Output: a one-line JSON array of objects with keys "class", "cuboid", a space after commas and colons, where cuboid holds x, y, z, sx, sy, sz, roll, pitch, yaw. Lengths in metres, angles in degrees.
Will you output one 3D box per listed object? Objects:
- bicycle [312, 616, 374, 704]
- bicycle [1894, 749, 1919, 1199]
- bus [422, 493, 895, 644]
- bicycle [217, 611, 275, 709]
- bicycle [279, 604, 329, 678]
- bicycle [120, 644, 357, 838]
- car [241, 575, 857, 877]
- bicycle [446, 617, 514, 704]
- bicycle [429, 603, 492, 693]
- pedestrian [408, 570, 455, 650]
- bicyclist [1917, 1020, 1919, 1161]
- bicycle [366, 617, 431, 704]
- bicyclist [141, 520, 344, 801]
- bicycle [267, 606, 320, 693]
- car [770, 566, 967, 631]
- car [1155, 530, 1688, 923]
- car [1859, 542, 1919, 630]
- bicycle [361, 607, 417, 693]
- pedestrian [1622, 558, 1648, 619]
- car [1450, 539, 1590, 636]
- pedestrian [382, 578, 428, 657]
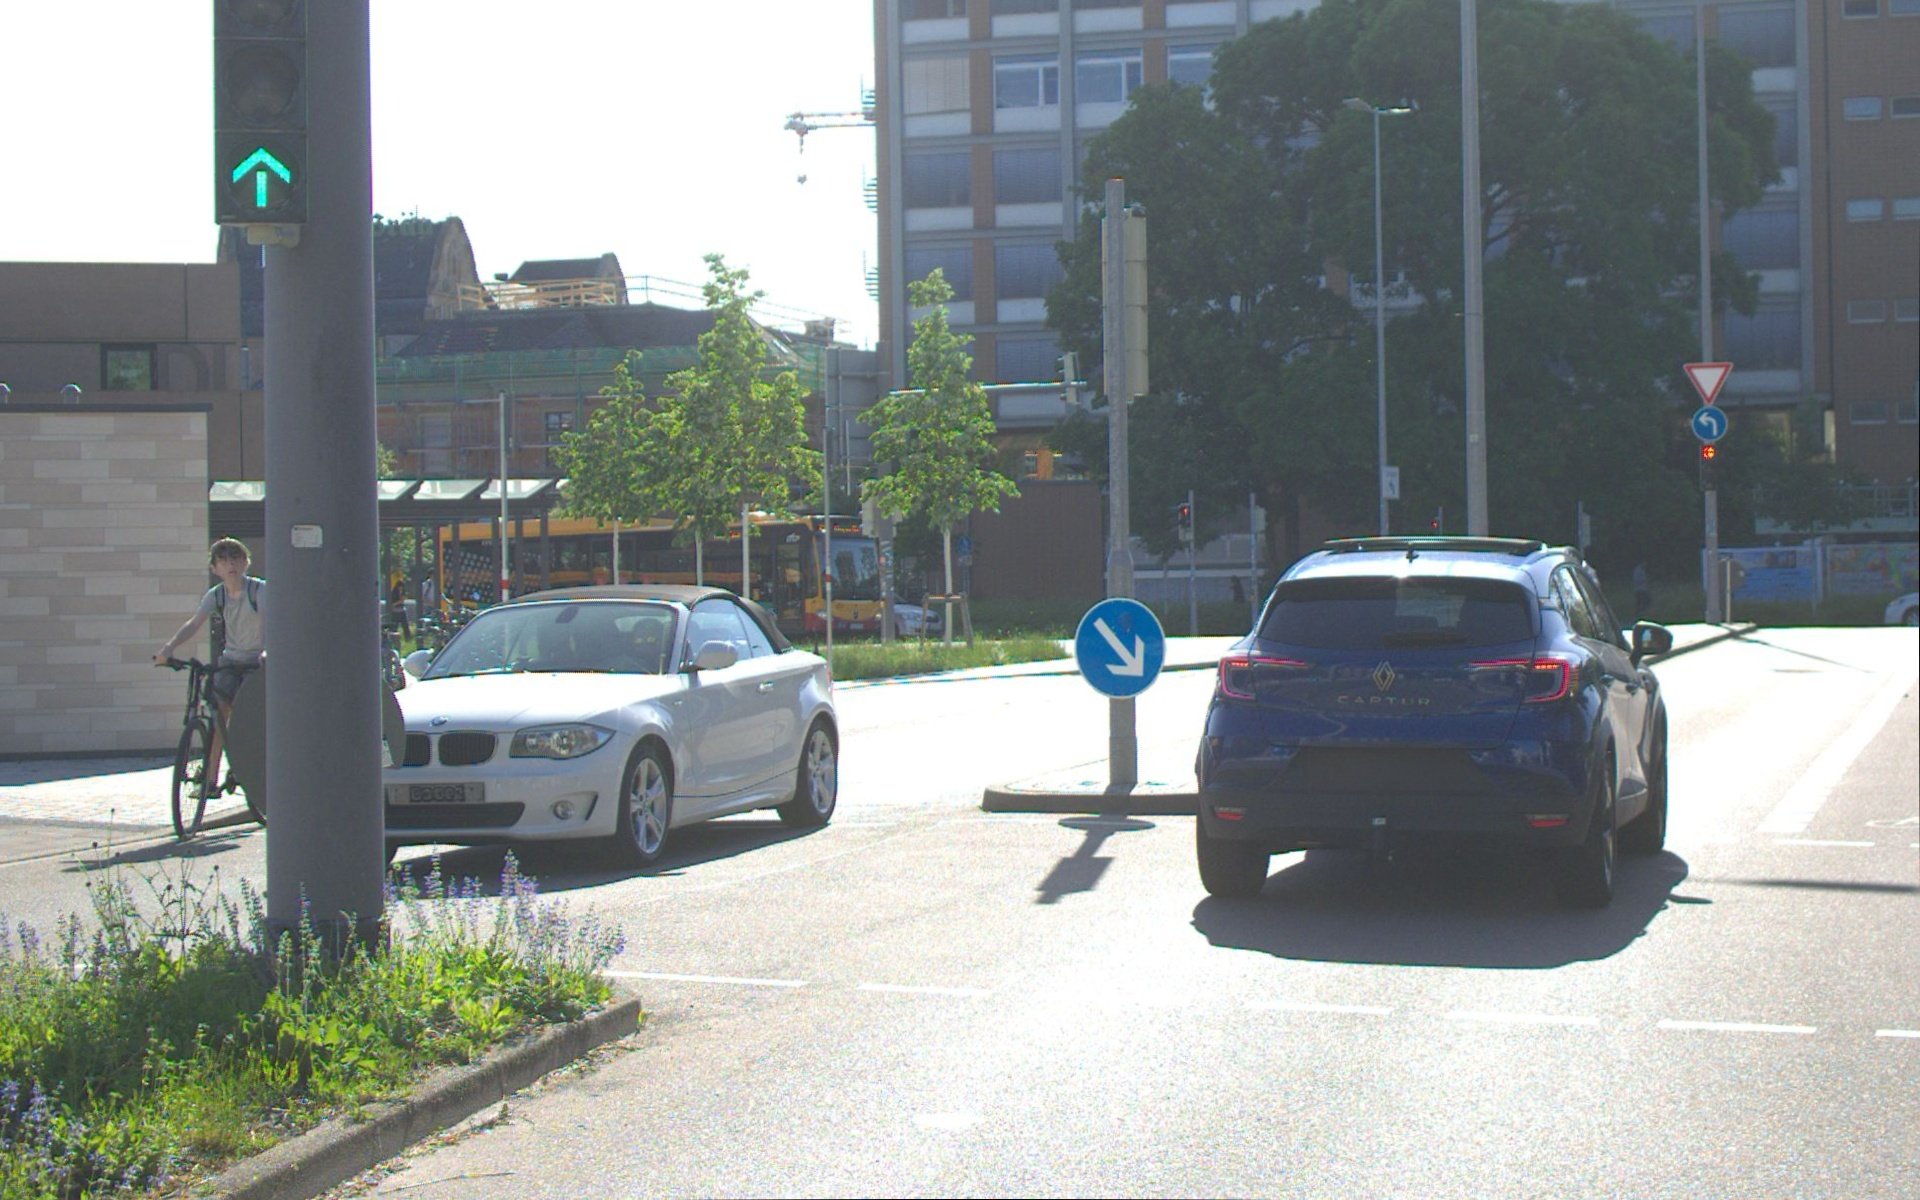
[{"class": "bicycle", "cuboid": [-6.918, 0.672, 38.498, 0.580, 0.958, 2.059, 0, -1, -13]}, {"class": "bicycle", "cuboid": [2.539, 0.918, 7.644, 0.663, 1.043, 1.890, 1, 1, 9]}, {"class": "bus", "cuboid": [-7.385, -0.660, 82.368, 12.430, 3.384, 2.876, 0, -1, 36]}, {"class": "bicycle", "cuboid": [-7.906, 0.662, 38.052, 0.580, 1.054, 1.817, 0, -1, -13]}, {"class": "bicycle", "cuboid": [-9.831, 0.616, 51.461, 0.580, 1.084, 1.872, 0, -1, -15]}, {"class": "bicycle", "cuboid": [-4.341, 0.827, 20.844, 0.773, 1.077, 2.035, -1, 0, 7]}, {"class": "car", "cuboid": [-2.061, 0.597, 18.512, 1.801, 1.388, 4.090, -1, 1, 17]}, {"class": "bicycle", "cuboid": [-5.448, 0.683, 38.931, 0.580, 0.958, 2.059, 0, -1, -13]}, {"class": "bicycle", "cuboid": [-5.956, 0.571, 40.938, 0.580, 1.048, 1.973, 0, -1, -13]}, {"class": "pedestrian", "cuboid": [-11.527, 0.228, 74.988, 0.626, 1.735, 0.786, 0, -1, 33]}, {"class": "bicyclist", "cuboid": [2.511, 0.449, 7.501, 0.664, 1.741, 1.005, 1, 1, 9]}, {"class": "bicycle", "cuboid": [-6.314, 0.676, 38.628, 0.580, 0.958, 2.059, 0, -1, -13]}, {"class": "bicyclist", "cuboid": [-4.336, 0.358, 20.844, 0.880, 1.639, 1.060, -1, 0, 7]}, {"class": "bicycle", "cuboid": [-8.549, 0.634, 44.058, 0.580, 1.084, 2.059, 0, -1, -13]}, {"class": "car", "cuboid": [-2.215, -0.020, 82.695, 4.405, 1.516, 1.966, 0, -1, 34]}, {"class": "car", "cuboid": [2.269, 0.507, 16.077, 1.825, 1.594, 3.655, 1, 0, 18]}, {"class": "car", "cuboid": [23.135, -0.314, 78.657, 4.657, 2.007, 1.997, 0, -1, 27]}, {"class": "bicycle", "cuboid": [-7.348, 0.640, 44.214, 0.580, 1.084, 2.059, 0, -1, -13]}, {"class": "pedestrian", "cuboid": [18.463, -0.305, 94.089, 0.561, 1.664, 0.475, 0, -1, 33]}, {"class": "car", "cuboid": [9.812, -0.245, 60.033, 1.819, 1.563, 4.247, -2, 0, 16]}, {"class": "pedestrian", "cuboid": [-12.399, 0.397, 76.827, 0.655, 1.735, 0.786, 0, -1, 33]}]
